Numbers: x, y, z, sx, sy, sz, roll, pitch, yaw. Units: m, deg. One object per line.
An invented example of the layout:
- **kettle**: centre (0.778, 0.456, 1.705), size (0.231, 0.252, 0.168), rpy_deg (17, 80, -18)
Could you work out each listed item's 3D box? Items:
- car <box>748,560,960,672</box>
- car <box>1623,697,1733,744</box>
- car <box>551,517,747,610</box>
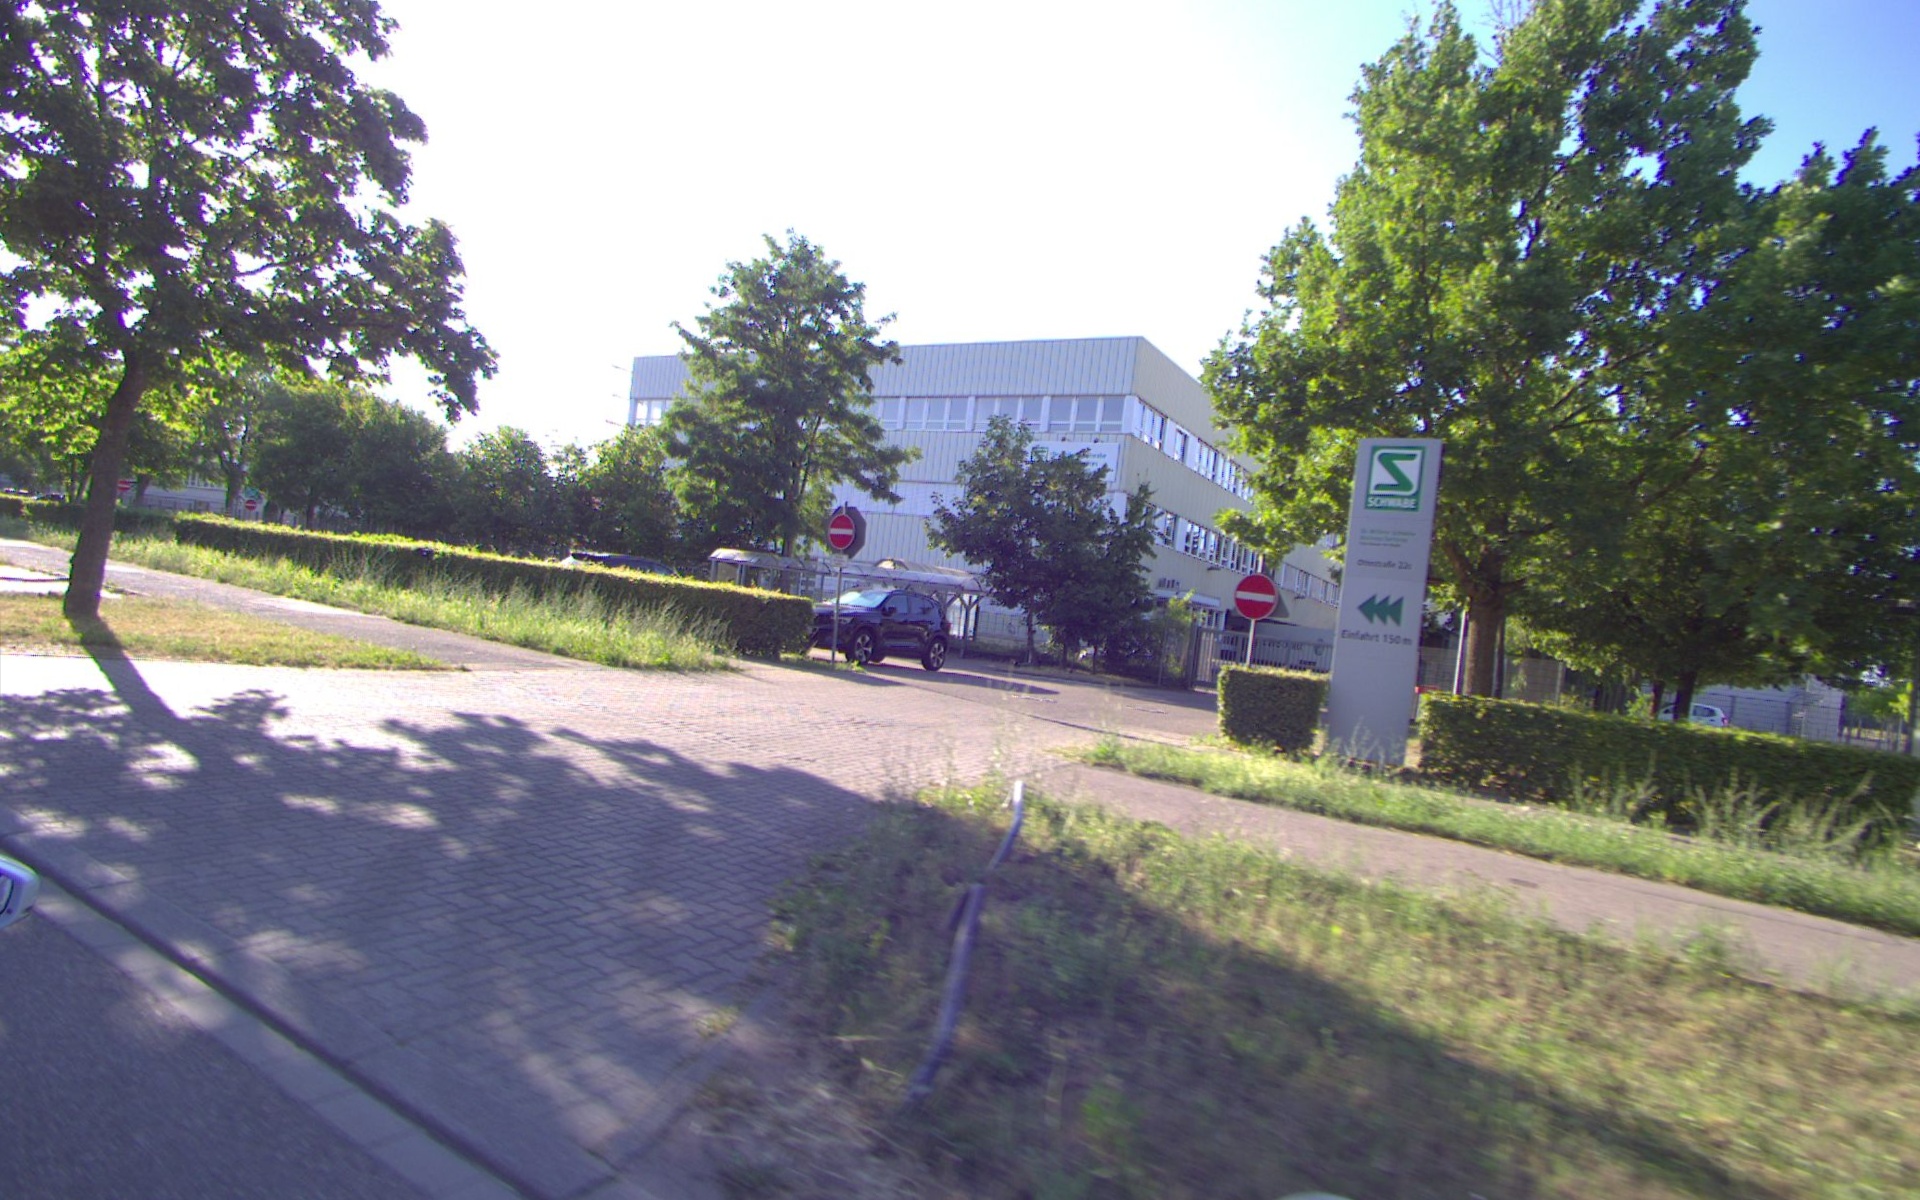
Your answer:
- **car**: centre (-2.085, 0.417, 21.158), size (2.024, 1.725, 4.441), rpy_deg (7, -2, 30)
- **car**: centre (32.110, 5.351, 45.142), size (3.722, 1.415, 1.868), rpy_deg (7, 0, 31)
- **car**: centre (-7.736, -0.860, 25.416), size (1.967, 1.726, 4.362), rpy_deg (8, 0, 33)
